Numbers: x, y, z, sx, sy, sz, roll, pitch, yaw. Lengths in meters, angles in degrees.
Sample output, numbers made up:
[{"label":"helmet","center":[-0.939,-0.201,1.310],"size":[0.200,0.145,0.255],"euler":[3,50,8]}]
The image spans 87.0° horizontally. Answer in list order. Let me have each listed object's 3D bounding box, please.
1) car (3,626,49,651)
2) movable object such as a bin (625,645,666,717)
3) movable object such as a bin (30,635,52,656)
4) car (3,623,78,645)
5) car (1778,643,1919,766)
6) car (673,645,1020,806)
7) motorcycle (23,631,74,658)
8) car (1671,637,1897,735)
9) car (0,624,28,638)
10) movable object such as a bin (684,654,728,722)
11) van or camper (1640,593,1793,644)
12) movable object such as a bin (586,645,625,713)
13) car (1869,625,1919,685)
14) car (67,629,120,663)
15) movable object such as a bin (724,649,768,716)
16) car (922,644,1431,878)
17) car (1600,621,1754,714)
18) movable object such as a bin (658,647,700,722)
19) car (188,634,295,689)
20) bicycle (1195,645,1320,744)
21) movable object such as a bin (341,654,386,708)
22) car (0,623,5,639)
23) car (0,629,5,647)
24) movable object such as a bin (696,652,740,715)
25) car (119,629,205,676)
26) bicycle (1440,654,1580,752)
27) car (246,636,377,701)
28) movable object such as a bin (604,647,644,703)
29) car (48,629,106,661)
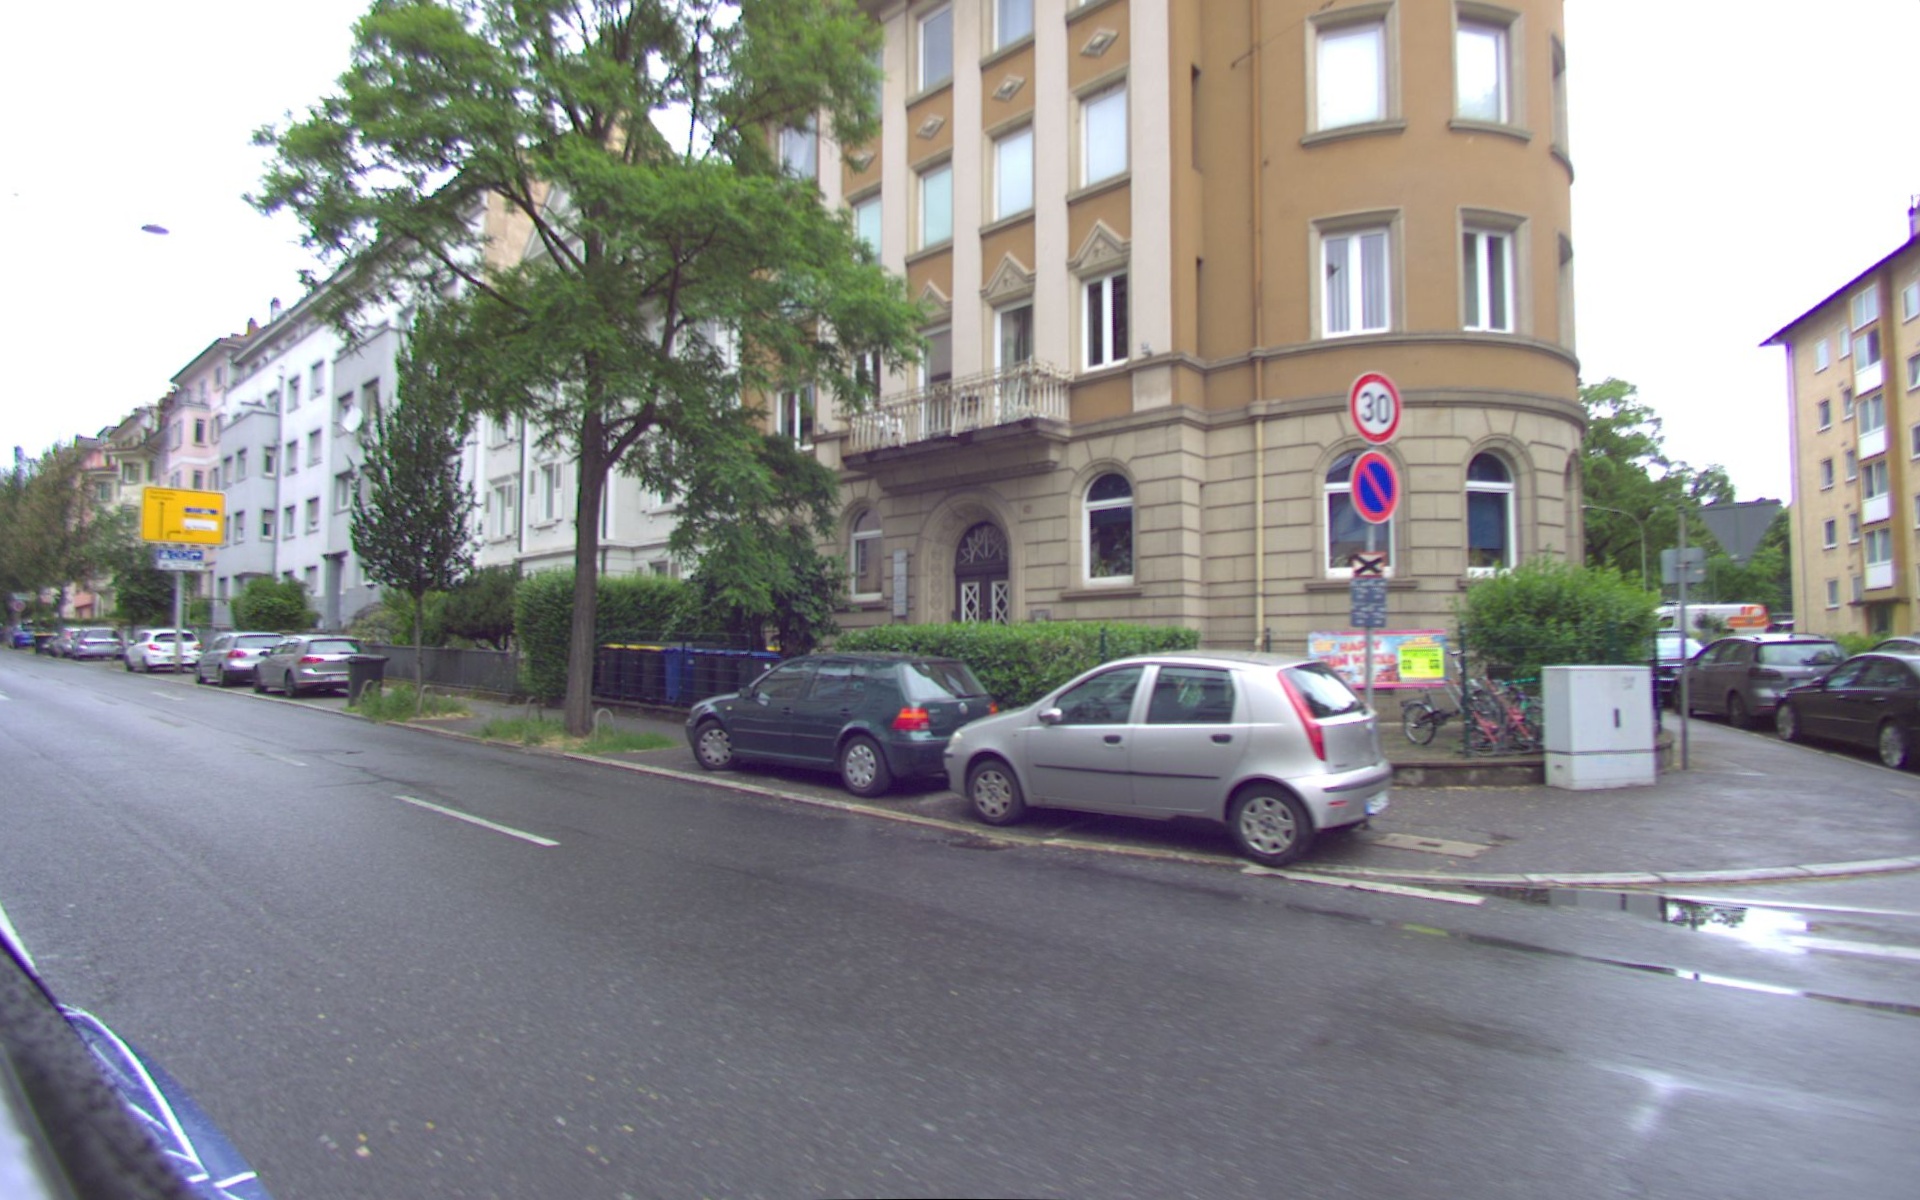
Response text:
[{"label":"car","center":[-58.483,2.401,63.330],"size":[4.602,1.396,1.661],"euler":[0,-2,42]},{"label":"movable object such as a bin","center":[-5.909,1.509,19.024],"size":[0.649,1.319,0.435],"euler":[-2,-3,41]},{"label":"movable object such as a bin","center":[-49.005,2.439,53.967],"size":[0.483,1.066,0.816],"euler":[0,1,43]},{"label":"car","center":[-81.523,2.999,89.768],"size":[1.917,1.919,4.671],"euler":[0,-1,40]},{"label":"car","center":[12.653,1.305,13.116],"size":[1.696,1.431,4.210],"euler":[0,-2,17]},{"label":"car","center":[-1.387,1.267,11.427],"size":[3.939,1.465,1.637],"euler":[-1,-3,40]},{"label":"motorcycle","center":[-46.977,2.307,52.173],"size":[1.783,1.325,0.743],"euler":[1,-3,-7]},{"label":"car","center":[14.170,1.400,17.690],"size":[1.696,1.451,3.816],"euler":[0,-2,17]},{"label":"car","center":[-112.026,3.628,118.606],"size":[1.592,1.634,3.876],"euler":[0,-3,42]},{"label":"movable object such as a bin","center":[-4.447,1.527,17.719],"size":[0.657,1.139,0.435],"euler":[-2,-3,41]},{"label":"van or camper","center":[41.303,0.998,55.408],"size":[6.292,2.653,2.282],"euler":[0,0,12]},{"label":"movable object such as a bin","center":[-7.001,1.550,20.003],"size":[0.649,1.309,0.435],"euler":[-2,-3,41]},{"label":"car","center":[22.651,1.274,23.262],"size":[1.486,1.230,3.341],"euler":[-3,0,21]},{"label":"car","center":[-39.428,2.041,46.000],"size":[1.582,1.462,3.890],"euler":[1,-2,-44]},{"label":"movable object such as a bin","center":[-3.585,1.373,16.931],"size":[0.589,1.089,0.435],"euler":[-2,-3,41]},{"label":"car","center":[1.659,1.121,8.413],"size":[3.834,1.465,1.616],"euler":[-1,-3,38]},{"label":"car","center":[15.801,1.411,22.536],"size":[1.836,1.741,3.972],"euler":[0,1,21]},{"label":"movable object such as a bin","center":[-5.084,1.513,18.292],"size":[0.609,1.319,0.435],"euler":[-2,-3,41]},{"label":"car","center":[-20.107,1.660,28.275],"size":[3.909,1.401,1.664],"euler":[-1,-2,43]},{"label":"bicycle","center":[3.589,1.070,12.046],"size":[0.804,1.054,2.323],"euler":[-1,-3,33]},{"label":"movable object such as a bin","center":[-12.292,1.651,20.851],"size":[0.600,1.066,0.623],"euler":[0,-3,42]},{"label":"car","center":[-114.569,3.671,118.408],"size":[1.866,1.861,3.880],"euler":[0,-1,39]},{"label":"car","center":[-79.705,3.093,82.966],"size":[4.137,1.428,1.663],"euler":[-1,-4,42]},{"label":"movable object such as a bin","center":[-4.158,1.418,17.407],"size":[0.650,1.049,0.421],"euler":[-2,-3,41]},{"label":"car","center":[-27.796,1.789,35.220],"size":[3.794,1.519,1.629],"euler":[-1,-3,41]},{"label":"bicycle","center":[6.133,1.122,11.408],"size":[0.797,1.019,1.700],"euler":[0,-3,8]},{"label":"car","center":[-15.633,1.583,24.328],"size":[3.935,1.401,1.664],"euler":[-1,-3,43]},{"label":"movable object such as a bin","center":[-6.476,1.438,19.486],"size":[0.649,1.047,0.435],"euler":[-2,-3,41]},{"label":"car","center":[-42.819,2.177,49.053],"size":[3.886,1.407,1.584],"euler":[0,-2,41]}]
